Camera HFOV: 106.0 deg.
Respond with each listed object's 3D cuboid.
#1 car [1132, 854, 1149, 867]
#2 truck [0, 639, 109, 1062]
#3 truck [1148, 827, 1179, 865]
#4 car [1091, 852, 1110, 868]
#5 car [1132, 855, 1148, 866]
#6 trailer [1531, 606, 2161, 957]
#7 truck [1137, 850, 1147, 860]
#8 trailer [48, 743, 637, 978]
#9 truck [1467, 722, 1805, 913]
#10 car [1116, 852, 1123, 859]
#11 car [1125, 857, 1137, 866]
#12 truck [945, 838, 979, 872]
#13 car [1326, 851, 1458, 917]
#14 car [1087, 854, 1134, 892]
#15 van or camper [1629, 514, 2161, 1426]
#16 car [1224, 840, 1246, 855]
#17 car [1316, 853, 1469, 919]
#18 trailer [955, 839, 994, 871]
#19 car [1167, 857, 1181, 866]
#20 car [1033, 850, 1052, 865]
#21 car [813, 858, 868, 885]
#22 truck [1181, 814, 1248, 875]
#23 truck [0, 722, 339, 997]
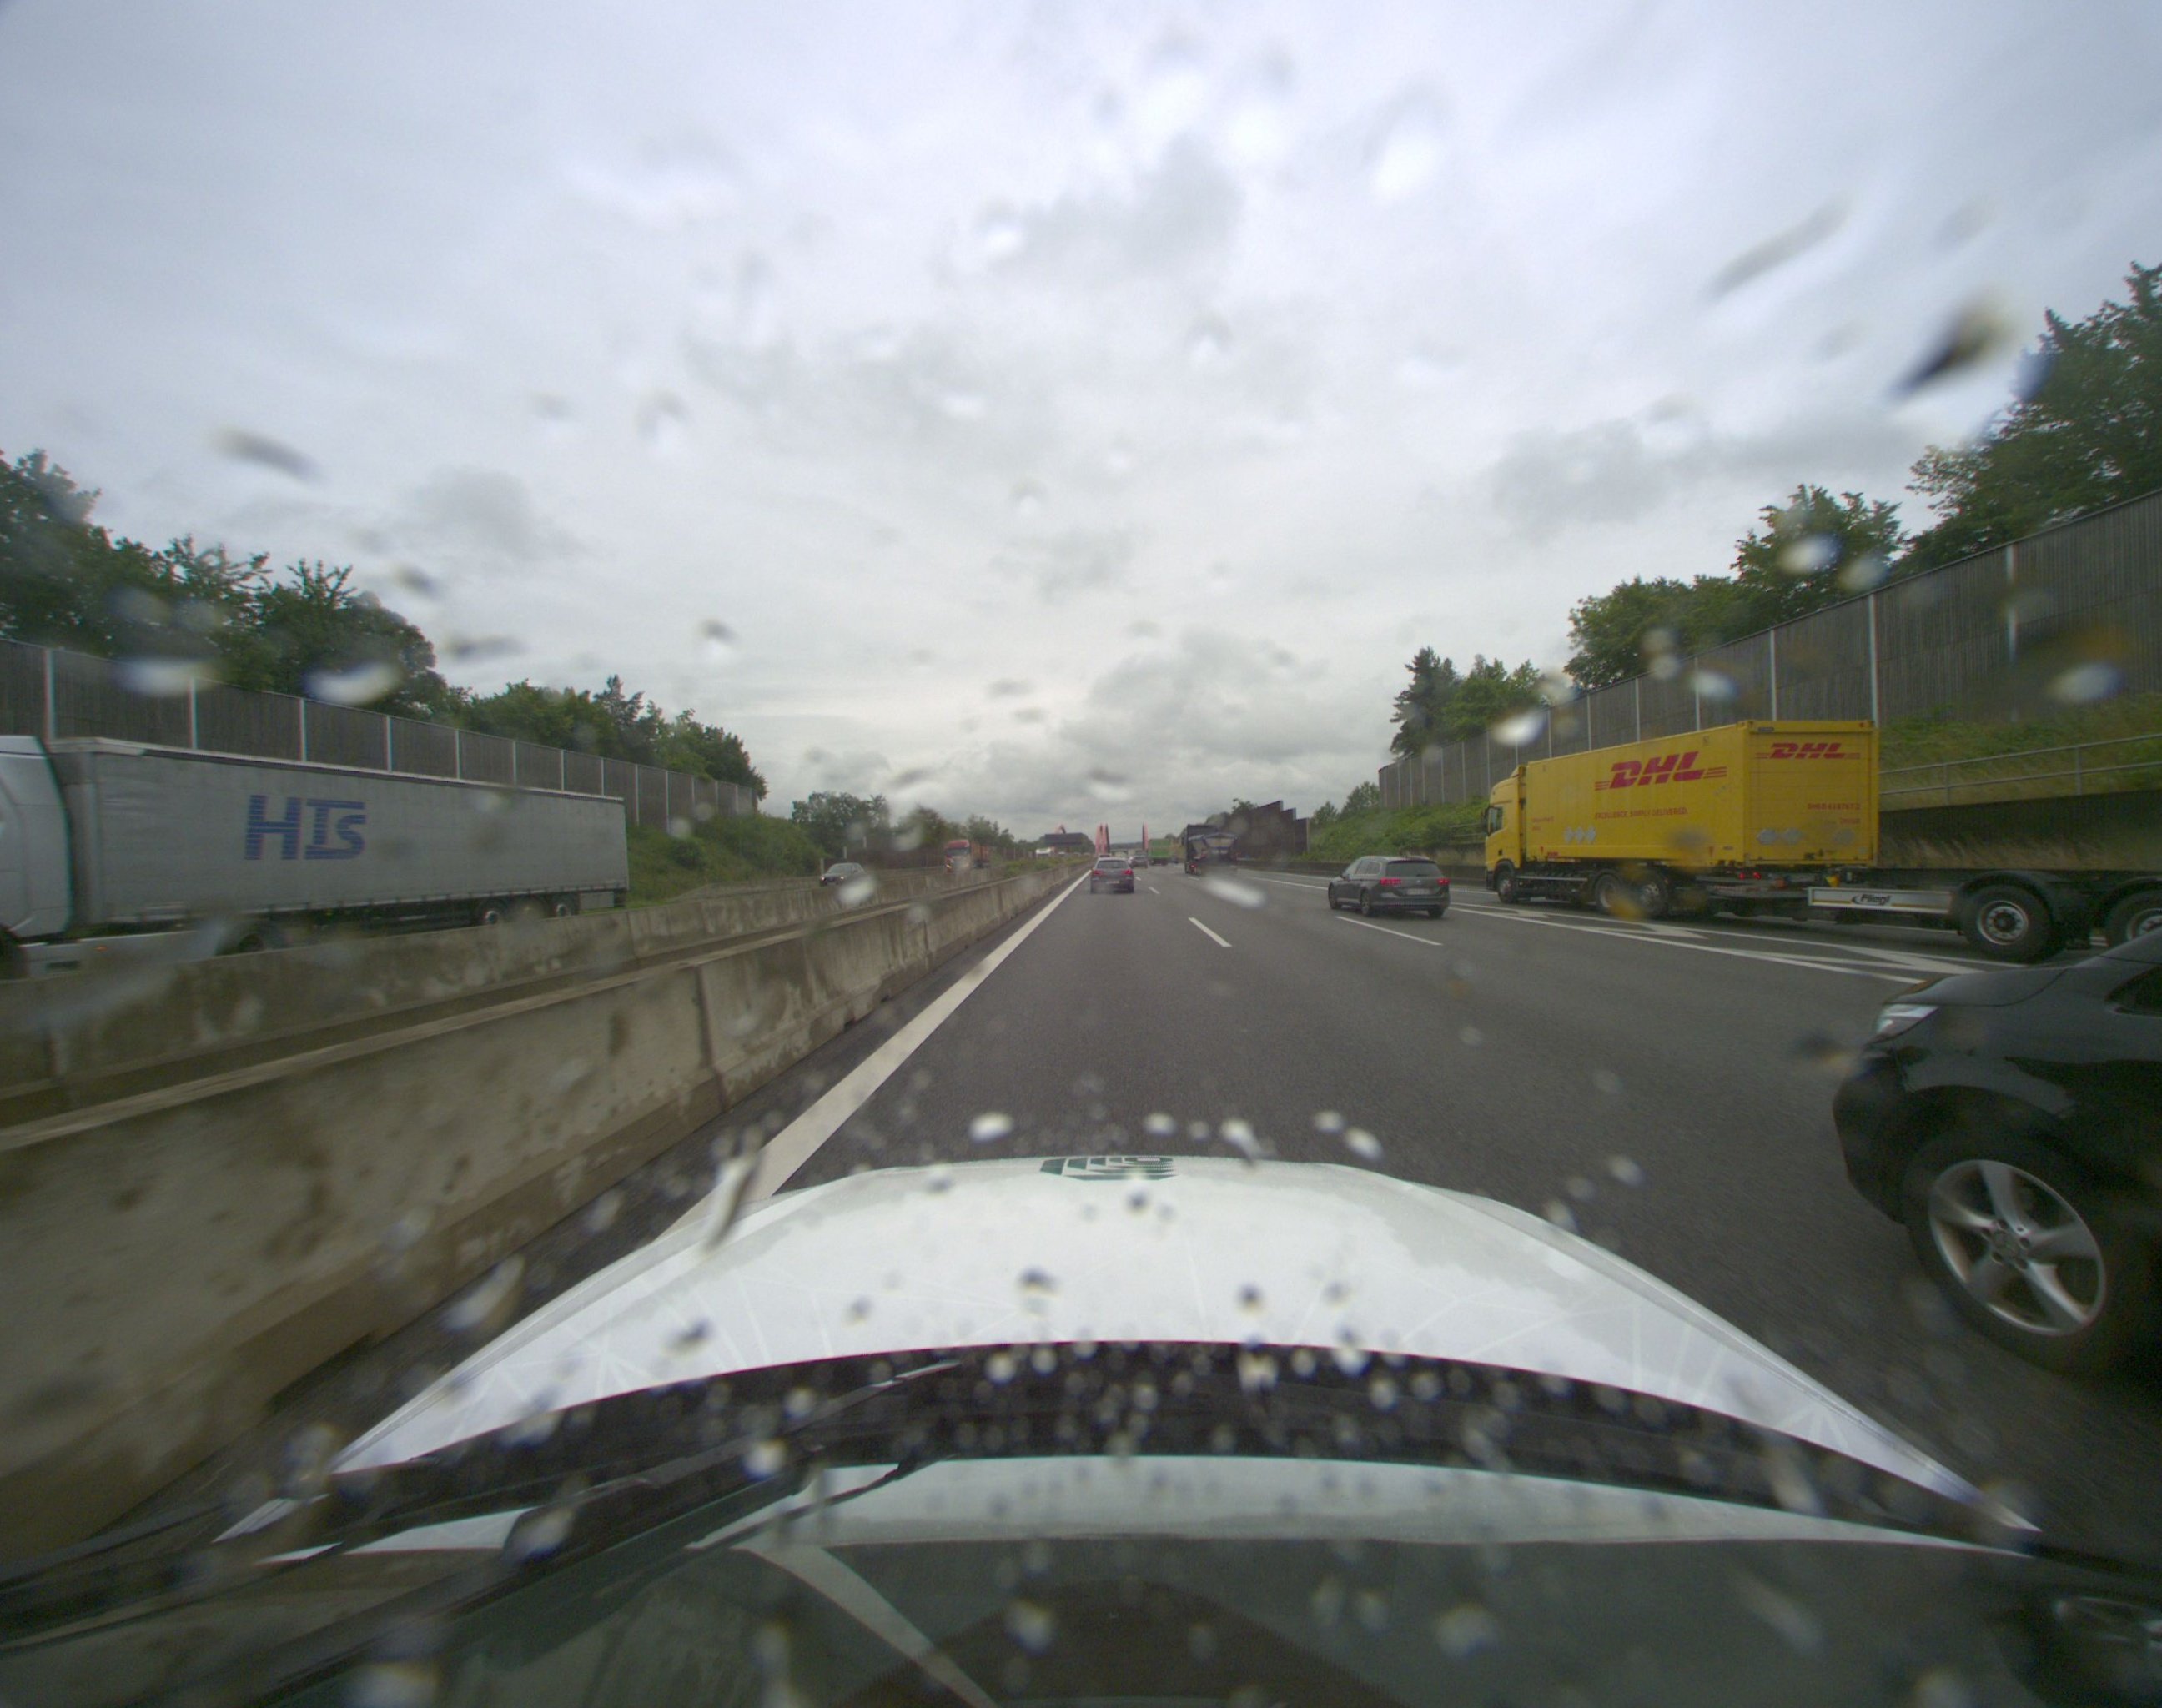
[{"bbox_3d":[6.693,0.706,92.265,1.775,1.406,3.628,-1,0,2],"label":"car"},{"bbox_3d":[-12.859,-0.062,2.910,3.139,4.325,12.687,0,0,2],"label":"truck"},{"bbox_3d":[11.928,-1.126,118.957,3.981,5.266,11.227,0,0,3],"label":"truck"},{"bbox_3d":[2.076,0.613,86.080,1.986,1.585,4.001,-2,0,2],"label":"car"},{"bbox_3d":[7.651,0.836,106.382,1.986,1.354,4.003,-1,0,2],"label":"car"},{"bbox_3d":[13.572,-0.791,14.064,2.641,3.953,16.688,0,0,1],"label":"trailer"},{"bbox_3d":[15.527,0.230,206.254,2.351,2.506,6.148,-1,0,3],"label":"truck"},{"bbox_3d":[-16.092,0.106,20.217,2.893,3.935,12.448,-2,0,2],"label":"trailer"},{"bbox_3d":[13.656,-0.729,21.477,2.676,3.958,9.327,0,0,1],"label":"truck"},{"bbox_3d":[11.398,0.416,242.479,1.985,1.815,4.003,-1,0,3],"label":"car"},{"bbox_3d":[8.692,1.313,142.077,1.986,1.354,4.001,-2,0,1],"label":"car"},{"bbox_3d":[-13.661,0.123,94.162,2.685,3.707,6.484,0,0,3],"label":"truck"},{"bbox_3d":[7.523,0.678,20.169,1.657,1.456,4.471,0,0,1],"label":"car"},{"bbox_3d":[1.168,0.726,33.051,1.757,1.453,4.001,-1,0,1],"label":"car"},{"bbox_3d":[3.604,0.281,1.215,1.883,2.269,5.681,0,0,2],"label":"van or camper"},{"bbox_3d":[19.085,-0.794,101.072,1.986,1.750,4.001,-2,0,1],"label":"car"},{"bbox_3d":[7.619,0.698,20.566,1.933,1.427,5.289,0,0,1],"label":"car"},{"bbox_3d":[-13.367,0.112,103.447,2.716,3.683,12.569,-2,0,2],"label":"trailer"},{"bbox_3d":[15.164,1.203,132.778,1.986,1.354,4.001,-2,0,2],"label":"car"},{"bbox_3d":[-5.922,0.532,125.980,2.365,2.193,7.727,-2,0,2],"label":"car"},{"bbox_3d":[-15.138,1.093,51.454,1.986,1.537,4.483,-2,0,2],"label":"car"},{"bbox_3d":[9.616,-0.588,60.279,3.078,3.950,12.950,-2,0,2],"label":"truck"},{"bbox_3d":[-16.319,0.112,13.230,2.878,3.796,5.892,-2,0,2],"label":"truck"}]
